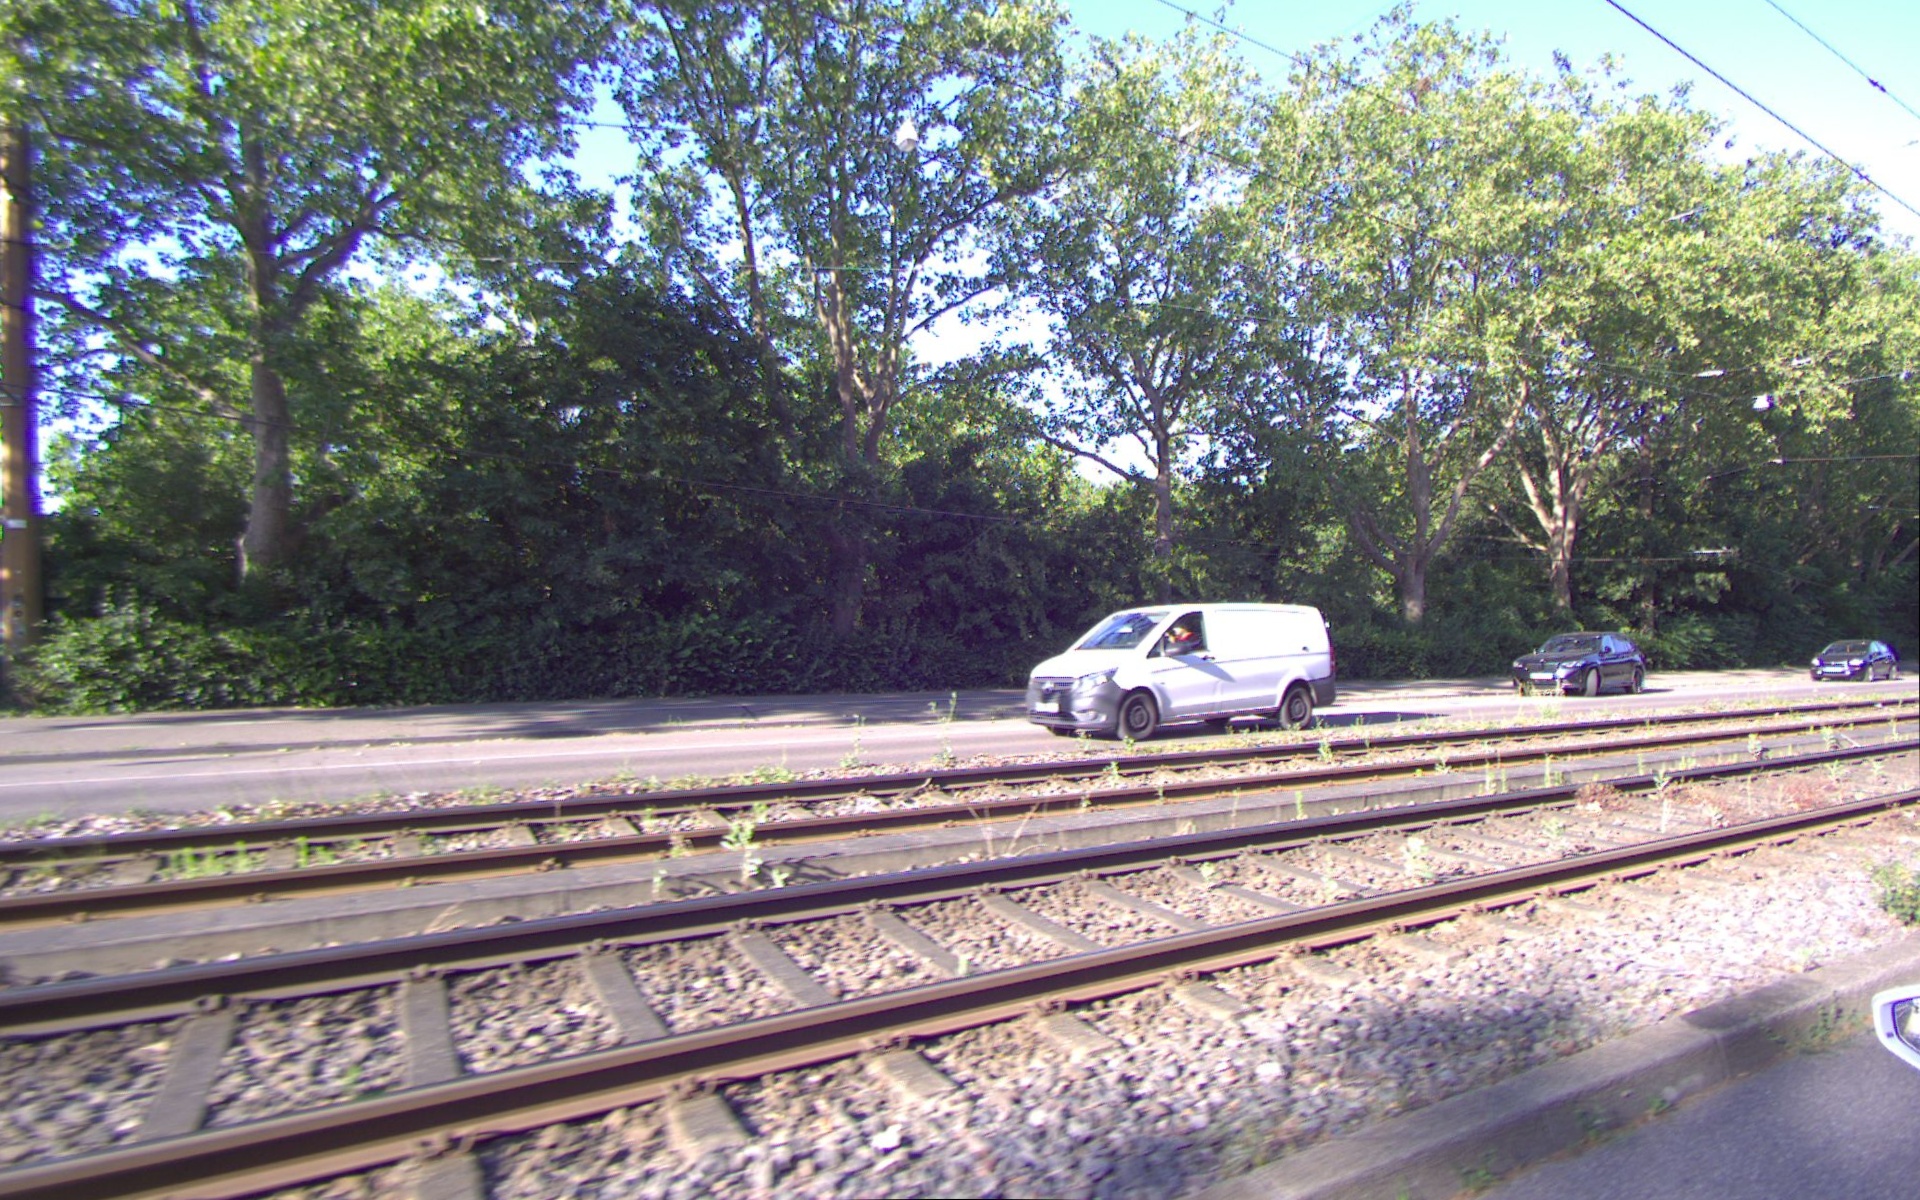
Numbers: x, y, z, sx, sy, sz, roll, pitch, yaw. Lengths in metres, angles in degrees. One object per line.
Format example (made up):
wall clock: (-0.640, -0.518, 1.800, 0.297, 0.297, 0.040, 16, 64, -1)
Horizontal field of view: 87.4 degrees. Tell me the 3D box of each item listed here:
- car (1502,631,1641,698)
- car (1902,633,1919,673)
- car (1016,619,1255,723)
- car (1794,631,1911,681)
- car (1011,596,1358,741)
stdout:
car: (16.318, 1.658, 26.761, 3.960, 1.658, 1.730, 1, -2, -35)
car: (43.819, 2.335, 44.429, 4.691, 1.719, 1.983, 1, -2, -32)
car: (3.398, 1.295, 19.112, 4.465, 1.766, 1.732, 1, -4, -33)
car: (32.870, 2.021, 36.973, 4.691, 1.719, 1.983, 1, -2, -32)
car: (3.483, 1.000, 15.194, 5.242, 1.868, 1.984, 1, -4, -32)
